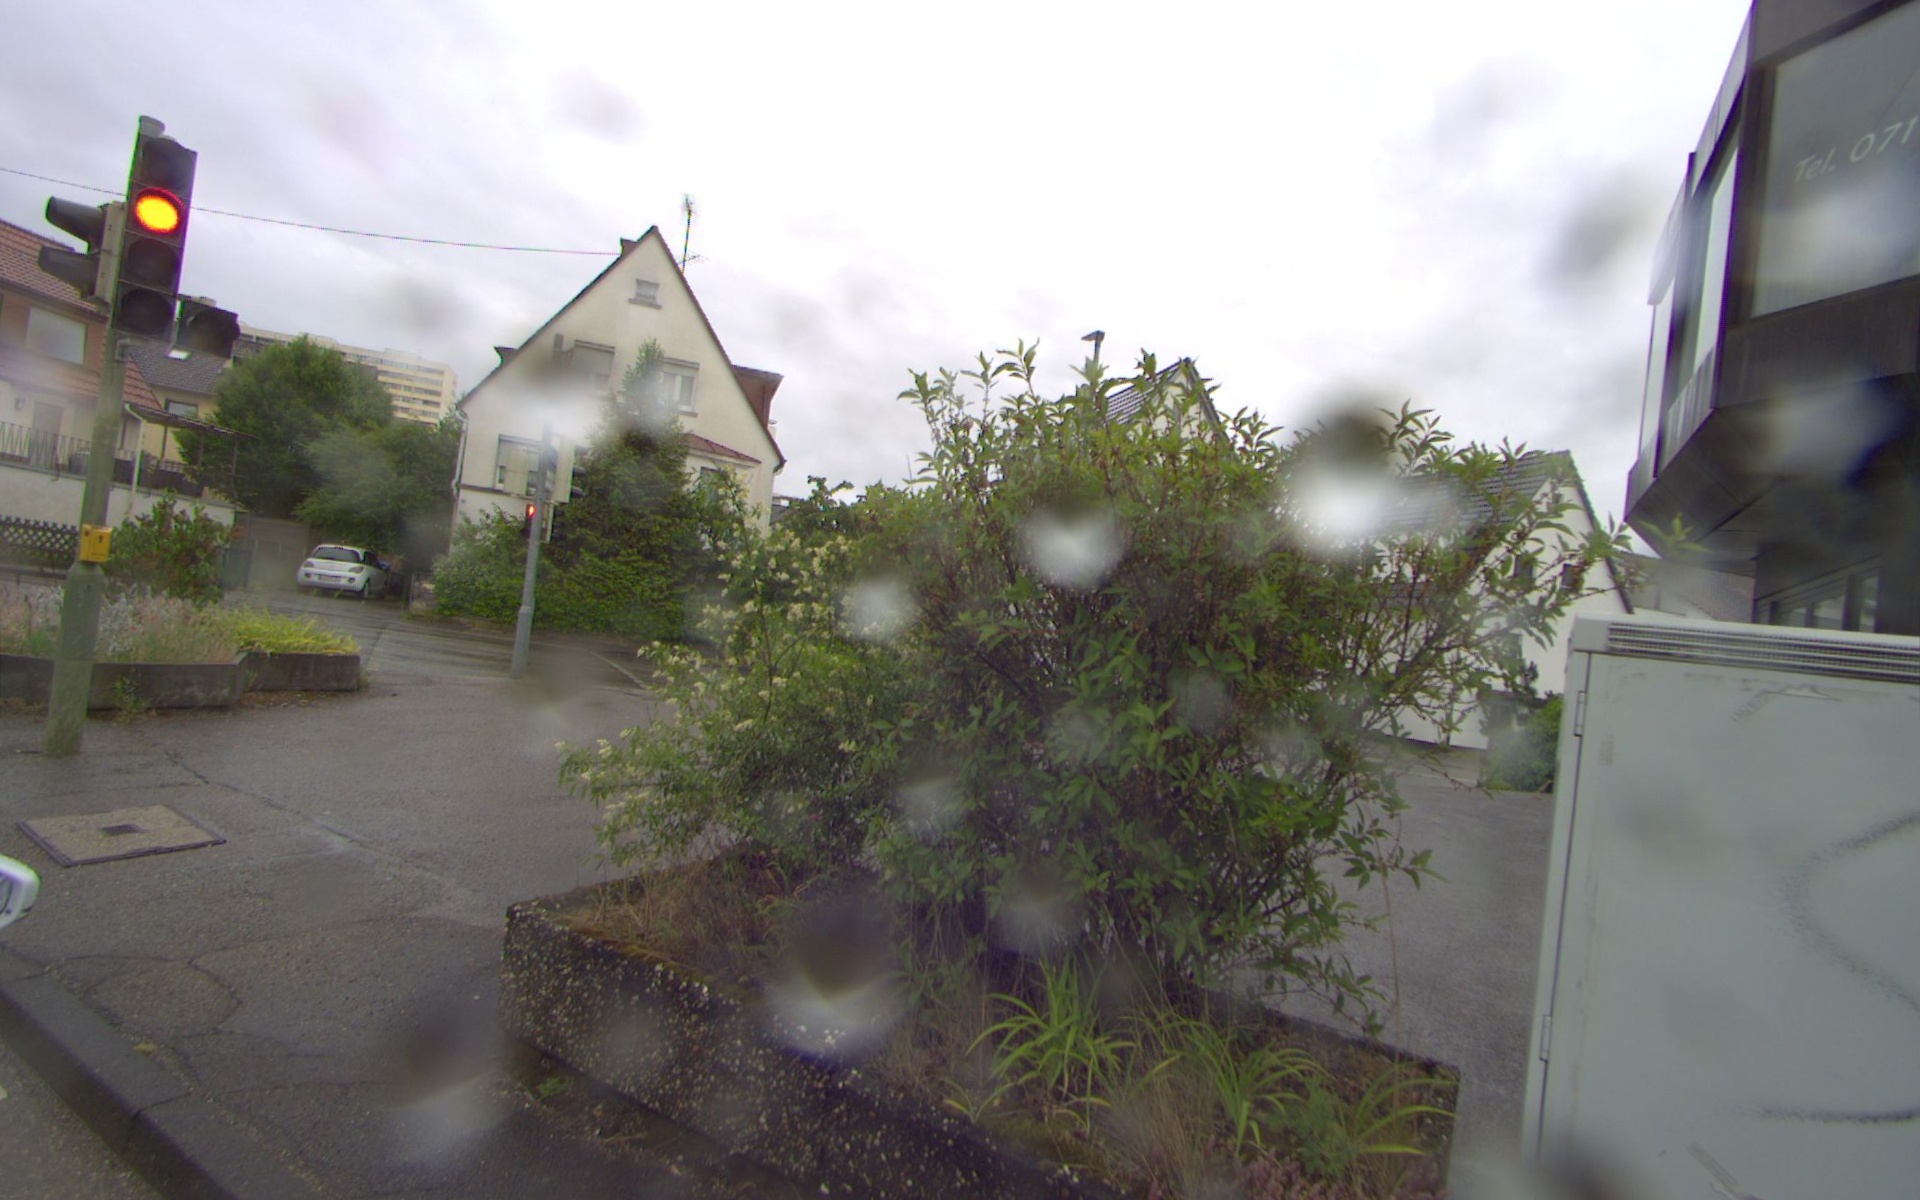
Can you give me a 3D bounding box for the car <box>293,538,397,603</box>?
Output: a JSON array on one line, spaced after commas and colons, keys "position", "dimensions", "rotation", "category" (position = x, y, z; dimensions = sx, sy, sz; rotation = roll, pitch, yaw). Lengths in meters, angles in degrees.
[{"position": [-18.000, -0.842, 29.612], "dimensions": [1.722, 1.532, 3.982], "rotation": [9, -2, -21], "category": "car"}]
